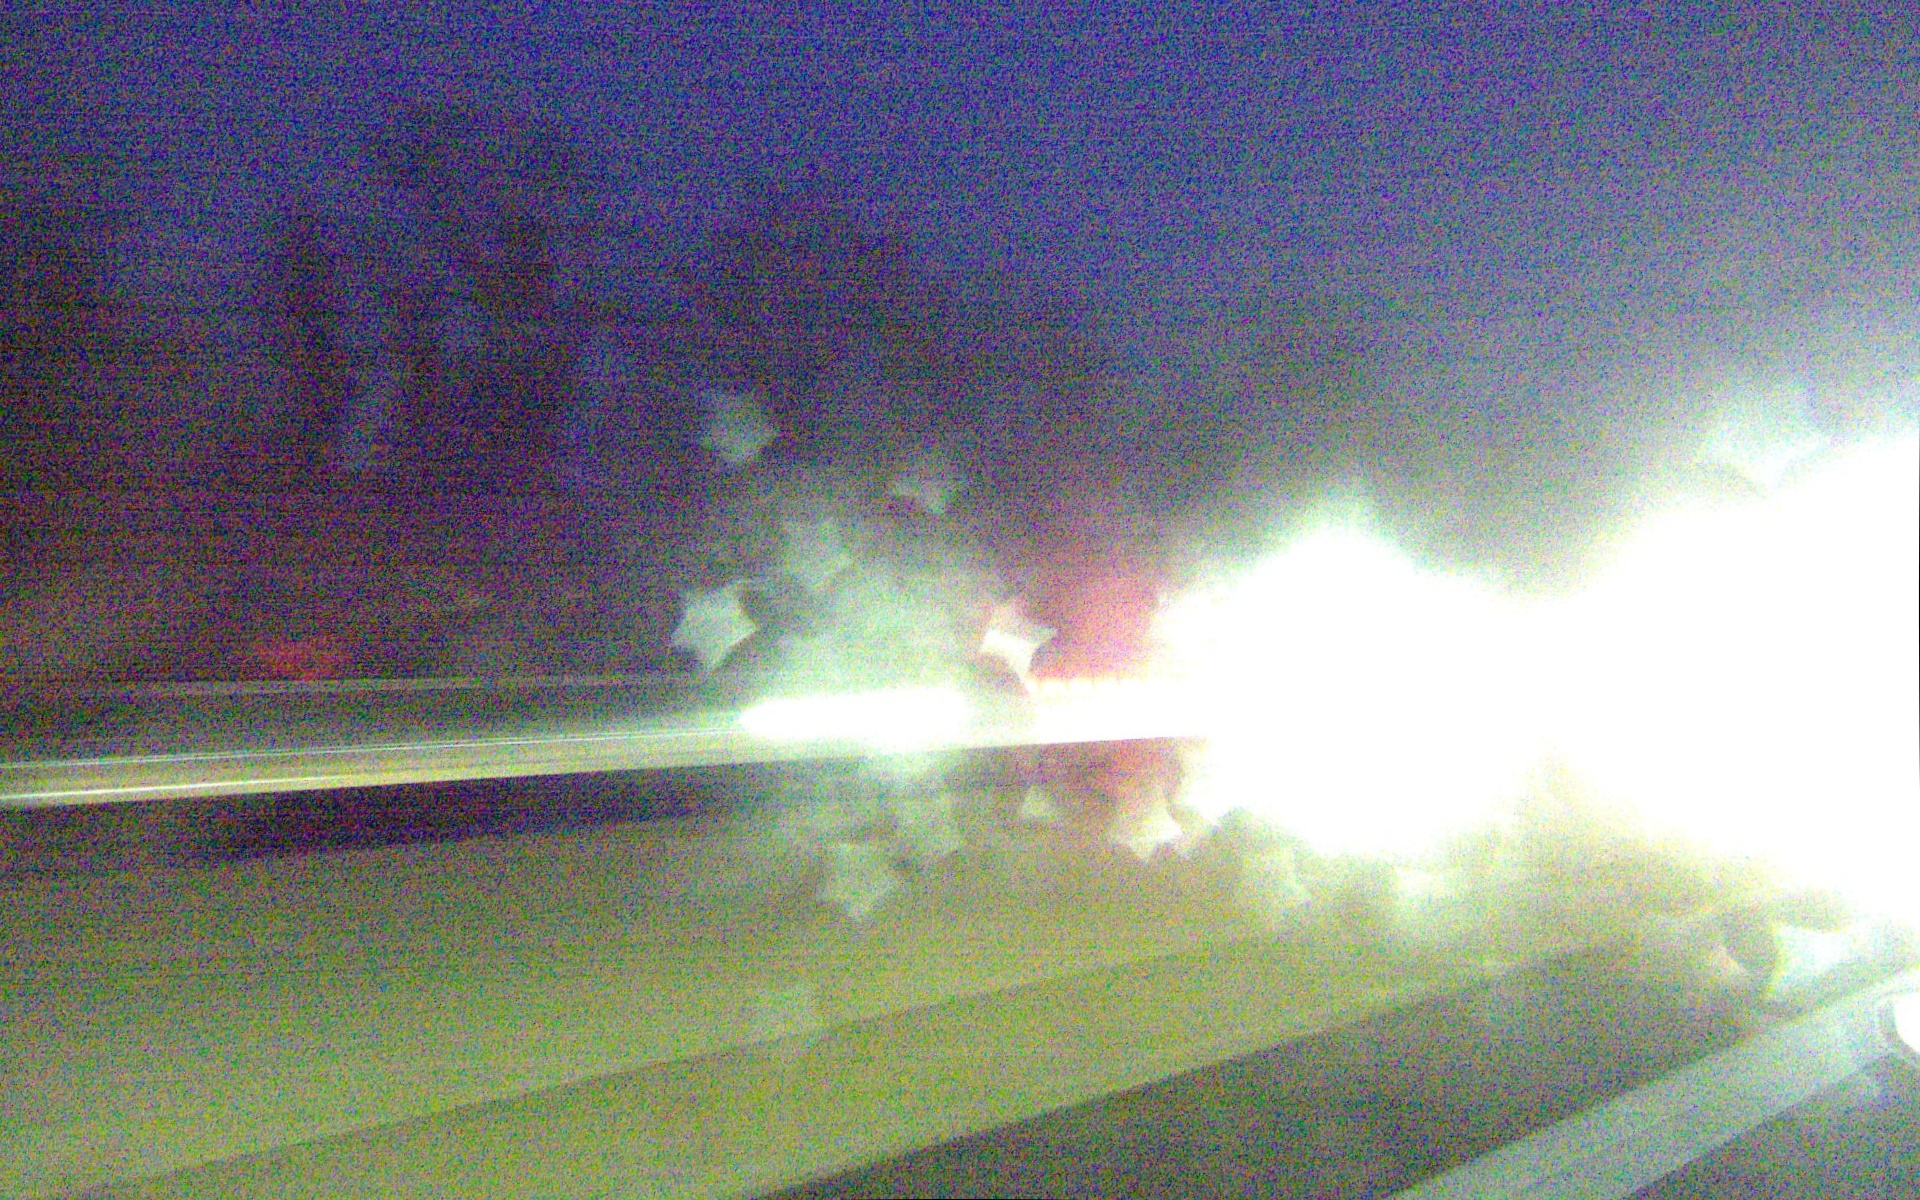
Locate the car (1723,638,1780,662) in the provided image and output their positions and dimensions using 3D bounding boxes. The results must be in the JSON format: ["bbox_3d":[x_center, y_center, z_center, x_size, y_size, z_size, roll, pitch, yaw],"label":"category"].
[{"bbox_3d":[54.933,3.447,69.696,4.309,1.491,1.851,2,0,-34],"label":"car"}]

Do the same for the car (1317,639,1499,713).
[{"bbox_3d":[10.941,1.782,24.450,4.450,1.638,1.863,1,-2,-31],"label":"car"}]

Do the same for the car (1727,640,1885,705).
[{"bbox_3d":[23.650,1.954,28.056,4.692,1.638,1.984,1,-2,-31],"label":"car"}]

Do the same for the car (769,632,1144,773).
[{"bbox_3d":[0.060,1.275,13.866,5.067,1.603,1.642,1,0,-30],"label":"car"}]
